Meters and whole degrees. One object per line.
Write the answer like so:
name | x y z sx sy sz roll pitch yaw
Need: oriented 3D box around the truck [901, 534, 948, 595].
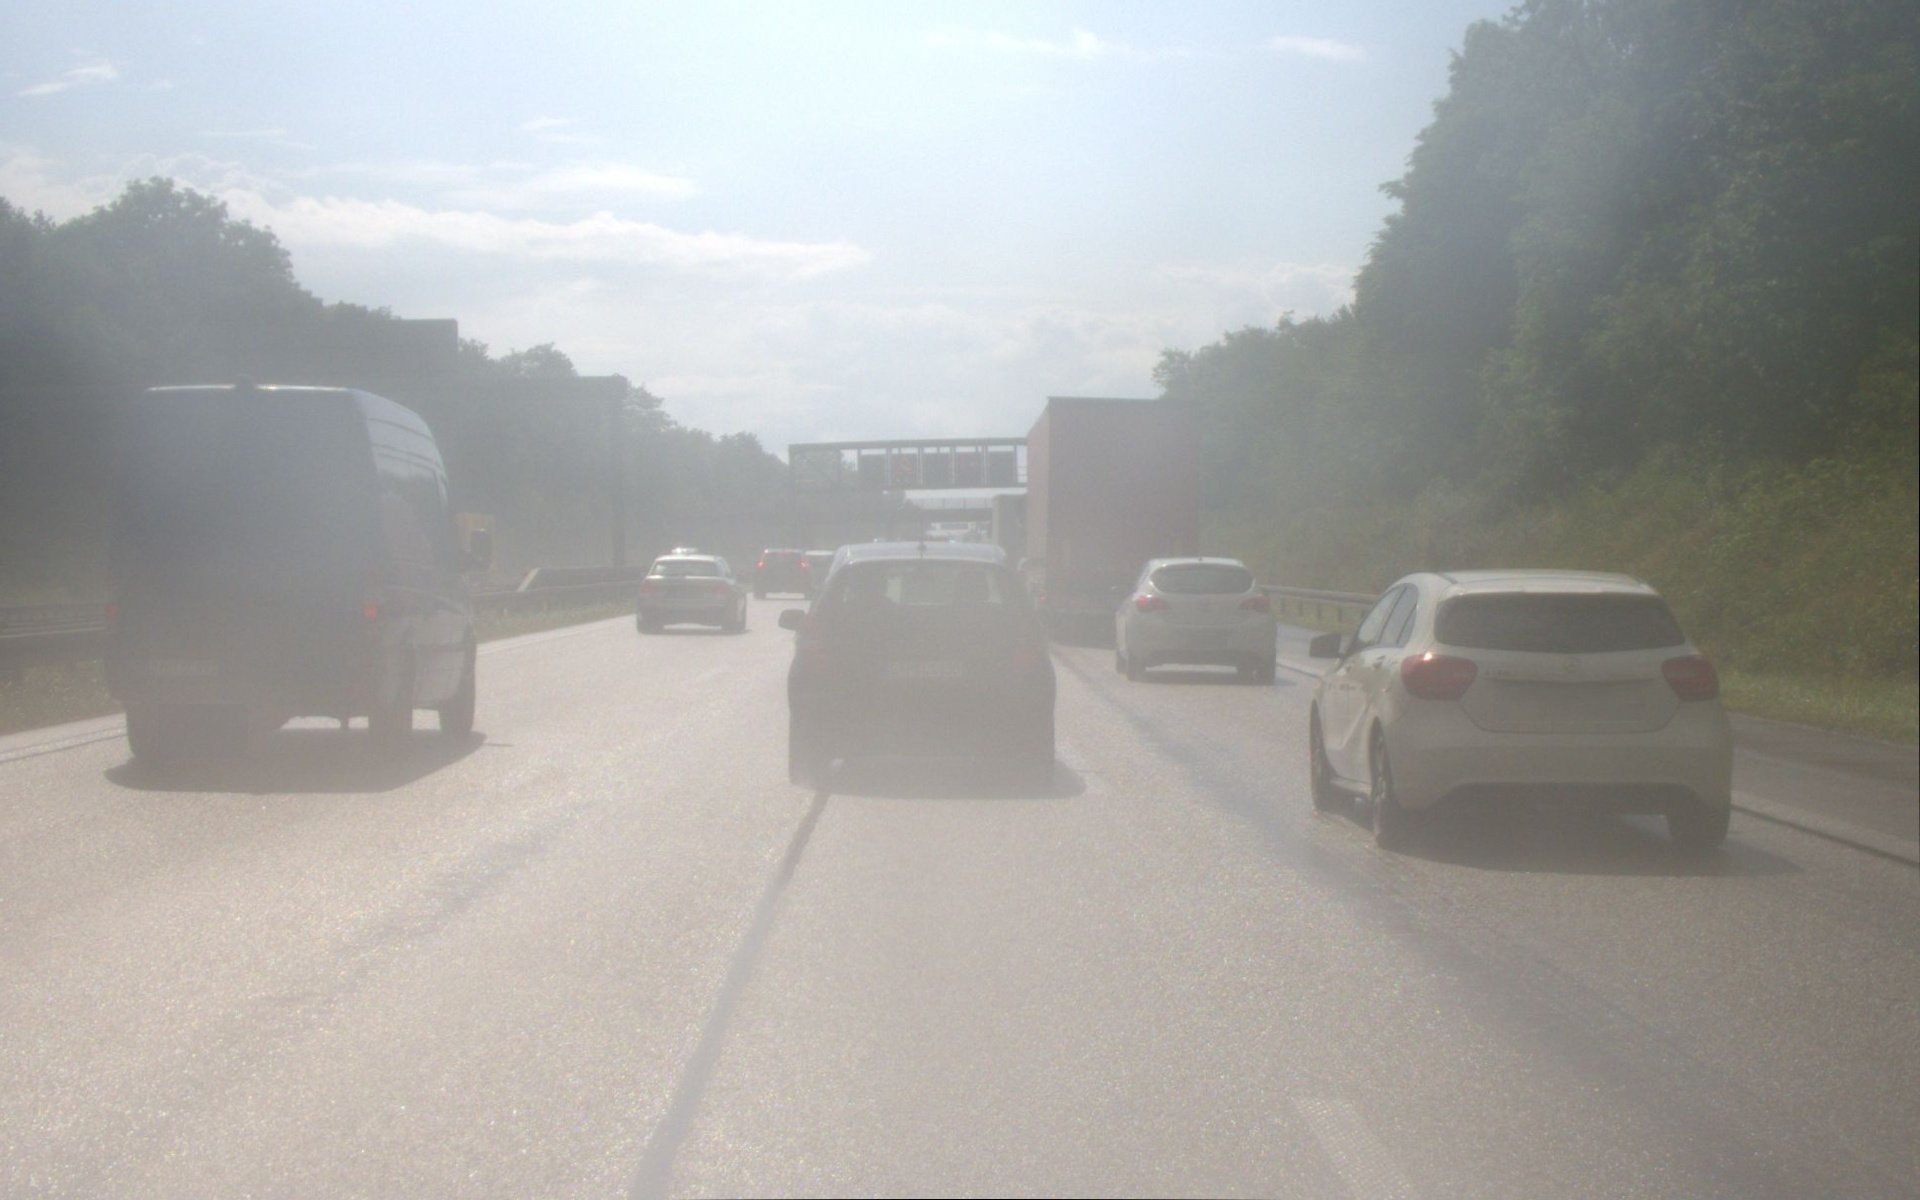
truck | -1.752 -1.738 167.769 2.192 2.865 4.850 1 1 -2

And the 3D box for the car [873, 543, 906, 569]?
car | -4.737 -2.959 232.066 1.994 1.695 4.000 0 1 3

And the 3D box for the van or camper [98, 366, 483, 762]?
van or camper | -4.922 -0.272 26.048 1.993 2.659 5.385 1 1 -2

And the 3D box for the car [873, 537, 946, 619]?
car | -1.133 -0.493 75.835 1.531 1.740 3.485 1 1 -2

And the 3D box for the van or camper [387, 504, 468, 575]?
van or camper | -22.660 -2.565 146.487 2.500 2.911 7.139 1 1 -2

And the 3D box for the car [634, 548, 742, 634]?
car | -5.107 -0.182 64.917 1.854 1.546 3.485 1 1 -2

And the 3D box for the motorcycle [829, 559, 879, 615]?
motorcycle | -1.940 -0.256 63.121 0.890 0.997 2.896 1 1 -2

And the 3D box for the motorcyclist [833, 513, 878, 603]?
motorcyclist | -1.919 -0.769 63.072 0.801 1.627 1.013 1 0 -2

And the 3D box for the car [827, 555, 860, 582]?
car | -5.558 -1.494 163.996 1.549 1.262 3.485 1 1 -2

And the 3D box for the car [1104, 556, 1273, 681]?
car | 2.758 0.194 42.167 1.680 1.437 3.905 1 1 -2

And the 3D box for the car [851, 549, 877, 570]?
car | -5.894 -2.484 210.340 1.549 1.262 3.485 1 1 -2

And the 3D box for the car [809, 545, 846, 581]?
car | -5.354 -1.501 139.075 1.460 1.389 3.312 1 1 -2

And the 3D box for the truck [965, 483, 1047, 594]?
truck | 1.878 -2.567 145.895 3.256 4.464 12.421 1 1 0

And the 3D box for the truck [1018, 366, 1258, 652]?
truck | 3.108 -1.604 65.682 3.650 4.704 16.779 1 1 0

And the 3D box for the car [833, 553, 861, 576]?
car | -6.399 -2.007 194.360 1.549 1.262 3.485 1 1 -2

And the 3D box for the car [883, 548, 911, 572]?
car | -4.619 -2.951 251.359 1.993 1.722 4.000 0 1 -1

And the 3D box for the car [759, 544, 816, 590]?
car | -5.617 -1.072 112.285 1.751 1.452 3.390 1 1 -2

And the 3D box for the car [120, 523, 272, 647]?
car | -18.617 -0.388 84.123 2.262 2.860 6.789 1 1 -1

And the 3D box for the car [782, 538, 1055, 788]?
car | -0.315 0.382 23.592 1.717 1.562 3.485 1 1 -2

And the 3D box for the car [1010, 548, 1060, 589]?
car | 2.594 -1.106 119.814 1.552 1.378 3.210 1 1 -2

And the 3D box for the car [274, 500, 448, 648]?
car | -10.424 -0.469 60.209 2.183 2.444 5.748 1 1 -2

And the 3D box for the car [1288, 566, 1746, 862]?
car | 2.924 0.538 18.906 1.692 1.420 4.220 1 1 -2
